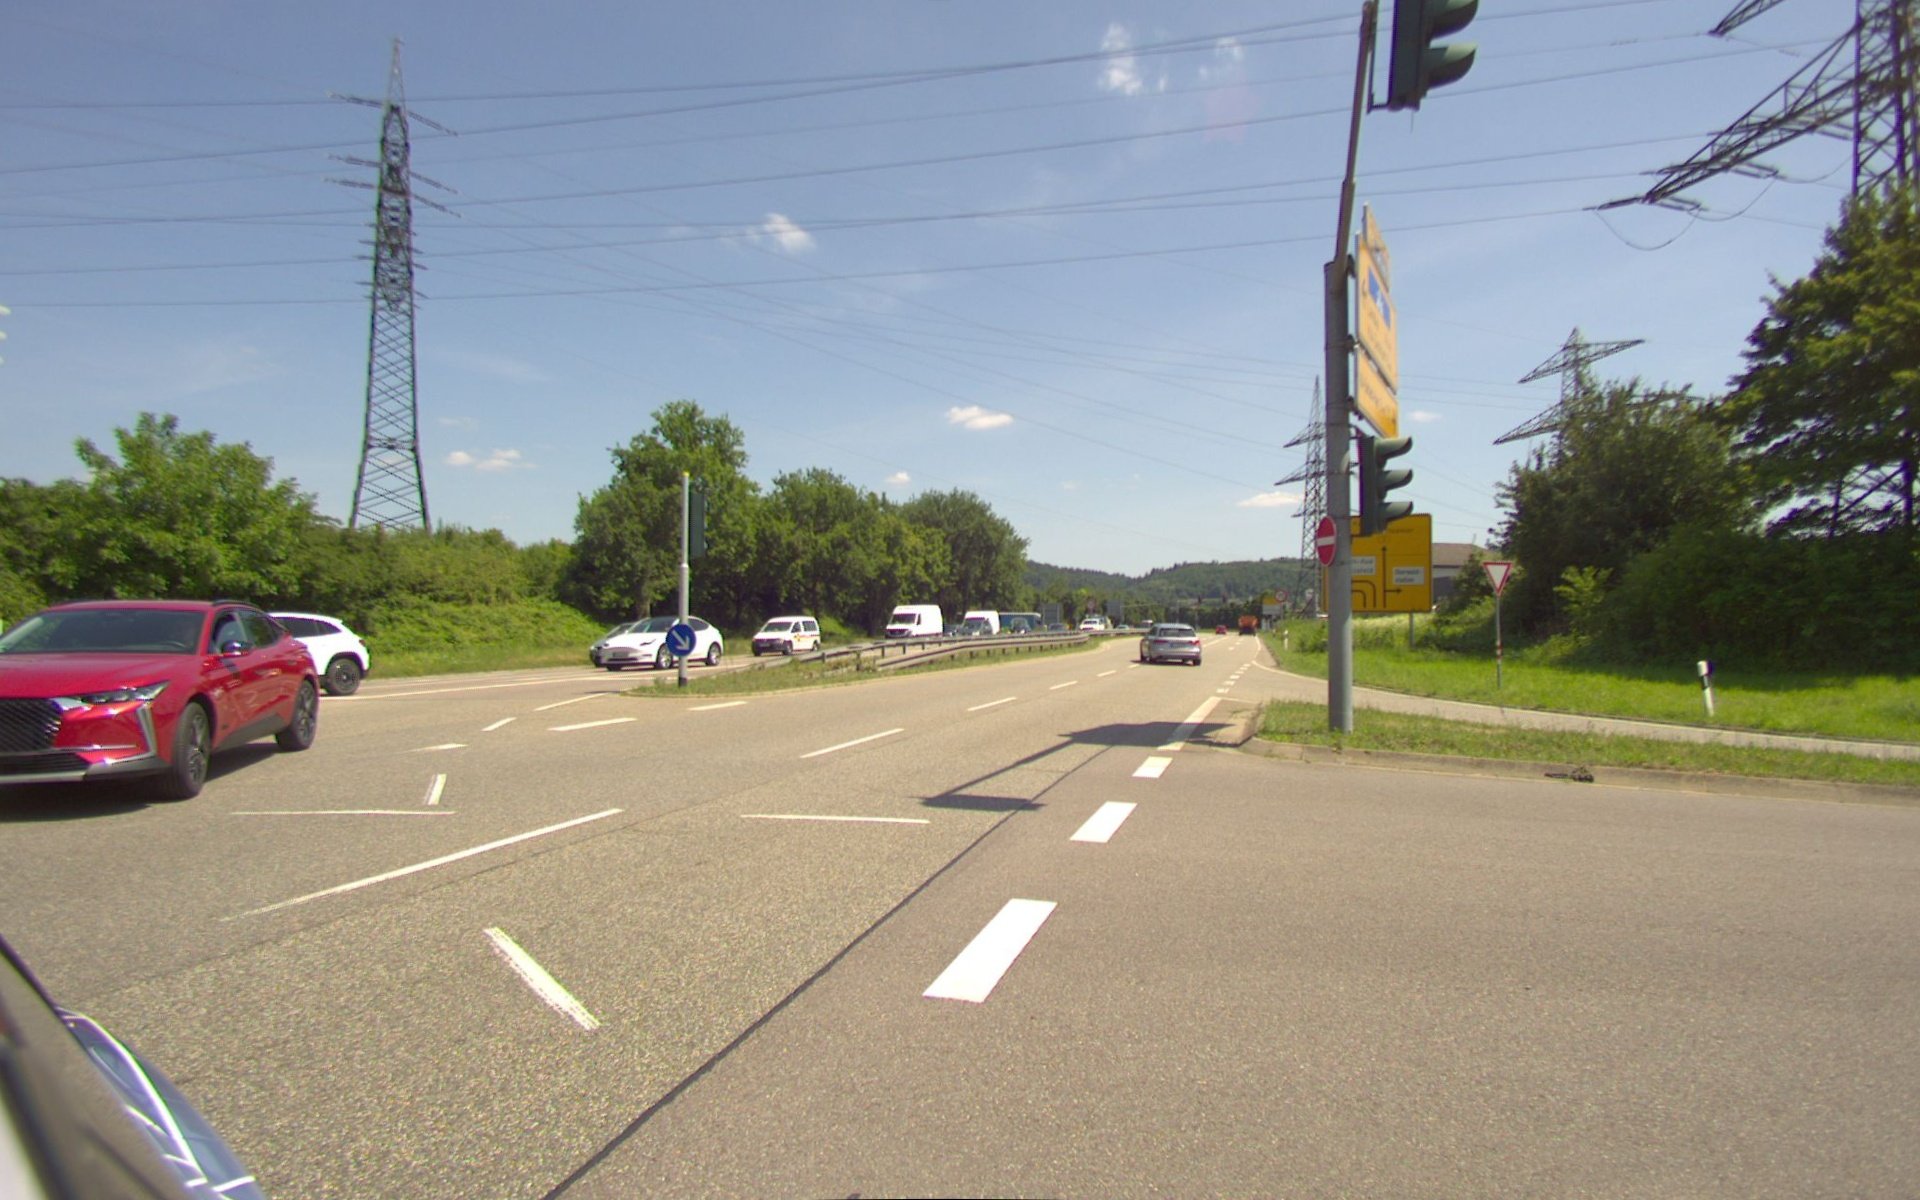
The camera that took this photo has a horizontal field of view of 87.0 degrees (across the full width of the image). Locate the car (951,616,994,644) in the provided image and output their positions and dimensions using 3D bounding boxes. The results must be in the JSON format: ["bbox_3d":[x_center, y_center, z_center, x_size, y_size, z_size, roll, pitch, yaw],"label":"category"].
[{"bbox_3d":[0.855,1.954,66.478,1.862,1.696,3.981,-2,-1,14],"label":"car"}]

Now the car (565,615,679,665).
[{"bbox_3d":[-11.907,1.396,35.938,1.733,1.606,4.248,-3,-2,17],"label":"car"}]

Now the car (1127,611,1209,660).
[{"bbox_3d":[7.392,1.212,36.427,2.020,1.588,4.664,1,0,1],"label":"car"}]

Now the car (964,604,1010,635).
[{"bbox_3d":[2.299,1.613,83.433,2.290,2.441,5.781,-3,-2,17],"label":"car"}]

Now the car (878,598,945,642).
[{"bbox_3d":[-3.050,1.317,65.784,2.214,2.627,6.981,-2,-2,16],"label":"car"}]

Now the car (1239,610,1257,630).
[{"bbox_3d":[43.626,3.040,153.266,2.585,3.084,5.610,0,-1,16],"label":"car"}]

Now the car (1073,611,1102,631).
[{"bbox_3d":[11.740,1.965,92.912,1.983,1.776,3.976,-1,-1,18],"label":"car"}]

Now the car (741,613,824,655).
[{"bbox_3d":[-8.239,1.561,47.404,1.794,1.814,5.011,-2,-2,16],"label":"car"}]

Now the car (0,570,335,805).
[{"bbox_3d":[-6.988,0.651,8.445,1.817,1.473,4.426,-1,-2,-15],"label":"car"}]

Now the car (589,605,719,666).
[{"bbox_3d":[-9.286,1.074,31.074,2.005,1.694,3.980,-3,-2,15],"label":"car"}]

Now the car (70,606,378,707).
[{"bbox_3d":[-13.114,0.963,18.400,1.835,1.580,4.339,-3,-2,17],"label":"car"}]
